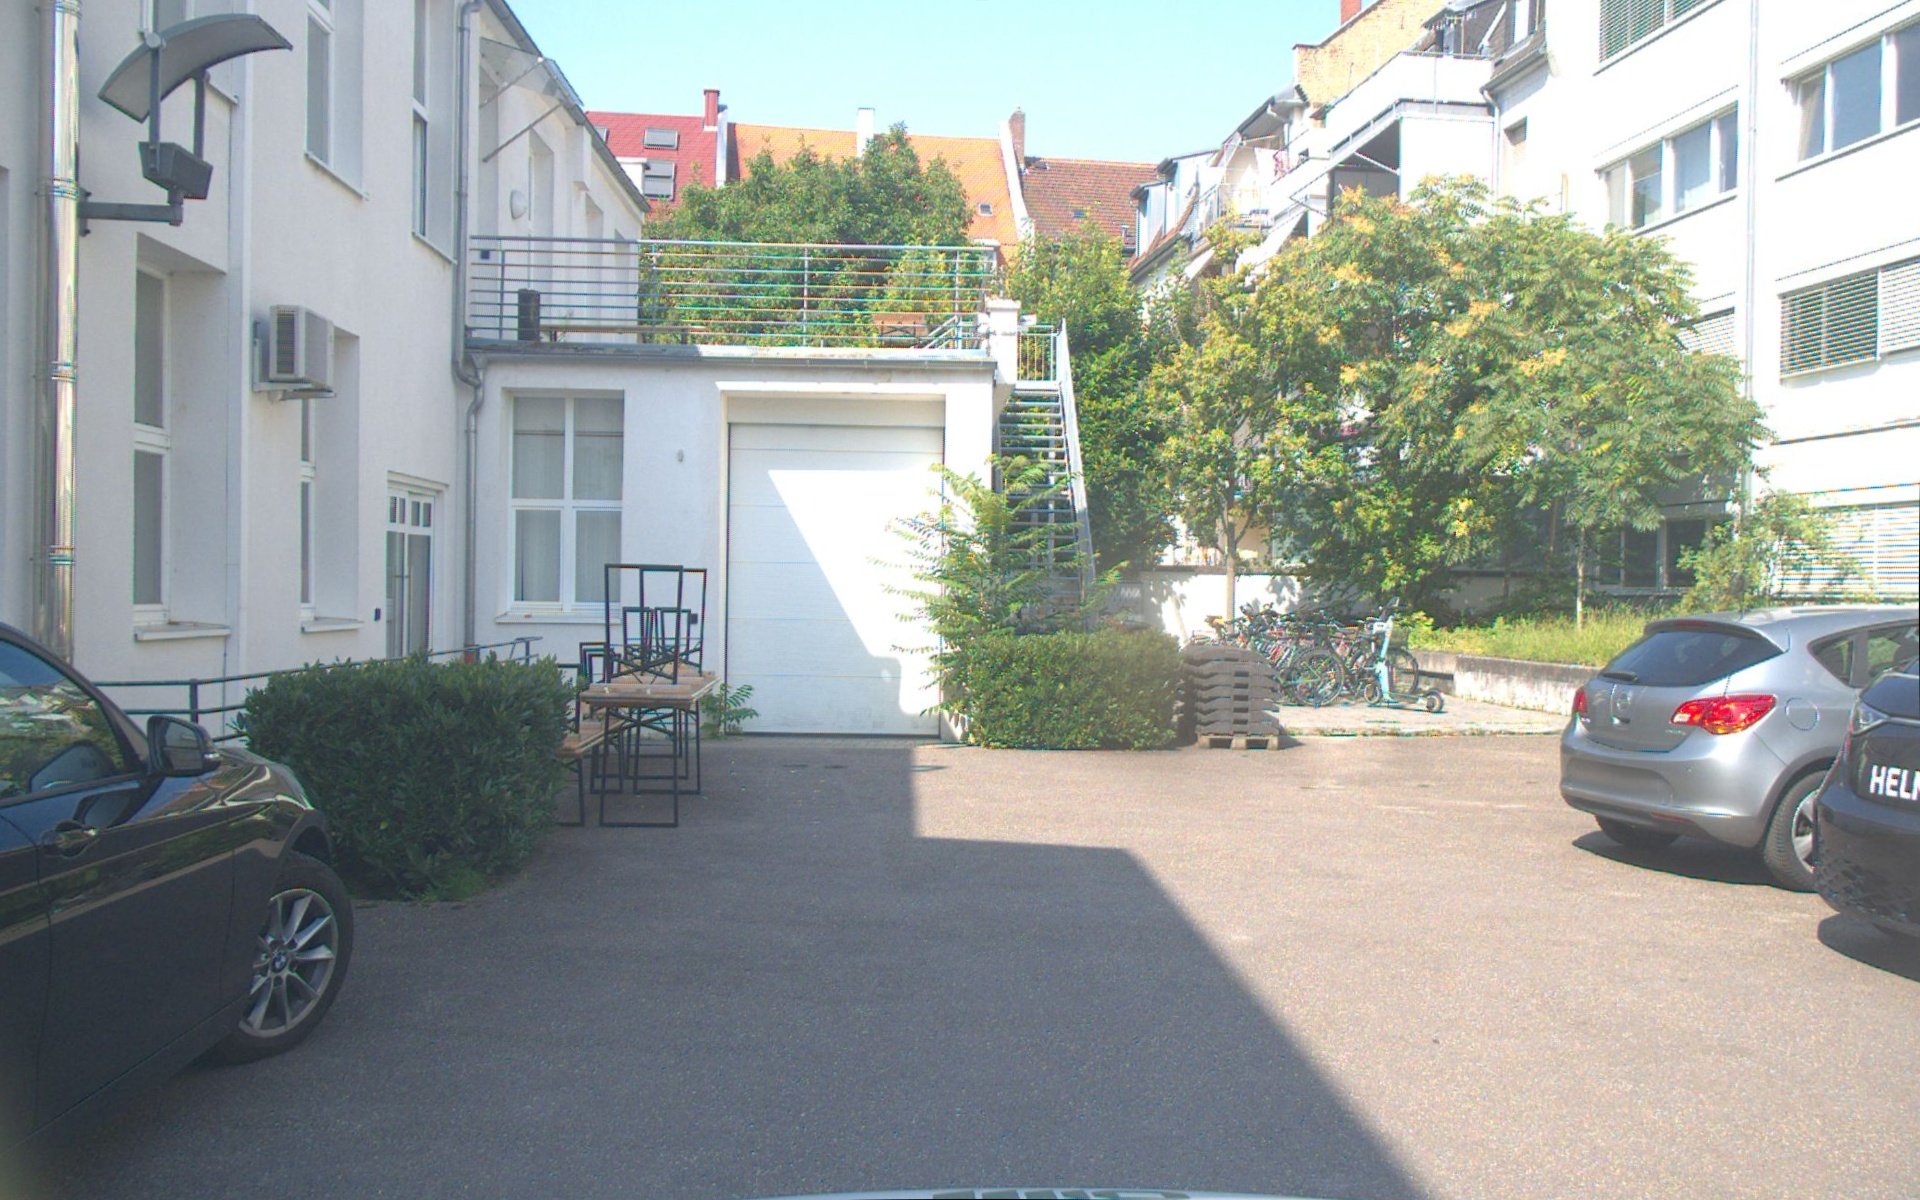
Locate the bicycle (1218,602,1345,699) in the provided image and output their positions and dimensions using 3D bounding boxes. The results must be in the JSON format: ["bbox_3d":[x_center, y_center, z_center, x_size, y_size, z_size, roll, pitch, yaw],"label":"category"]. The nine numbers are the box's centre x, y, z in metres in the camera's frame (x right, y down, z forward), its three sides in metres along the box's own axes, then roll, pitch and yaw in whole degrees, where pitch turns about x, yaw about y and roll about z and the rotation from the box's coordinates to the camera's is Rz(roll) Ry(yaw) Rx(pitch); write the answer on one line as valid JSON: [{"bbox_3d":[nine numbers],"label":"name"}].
[{"bbox_3d":[4.130,0.647,21.320,1.588,1.235,0.327,0,0,8],"label":"bicycle"}]

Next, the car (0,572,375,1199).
[{"bbox_3d":[-2.599,0.678,3.284,1.655,1.484,3.920,1,0,-3],"label":"car"}]

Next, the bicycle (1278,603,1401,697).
[{"bbox_3d":[5.065,0.665,22.115,1.588,1.235,0.424,0,0,11],"label":"bicycle"}]

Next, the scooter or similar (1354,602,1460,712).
[{"bbox_3d":[5.404,0.672,20.055,0.375,1.283,1.333,0,0,-33],"label":"scooter or similar"}]

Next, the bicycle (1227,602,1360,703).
[{"bbox_3d":[4.146,0.646,20.576,1.590,1.235,0.327,0,0,-1],"label":"bicycle"}]

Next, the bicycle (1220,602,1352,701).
[{"bbox_3d":[4.109,0.646,20.869,1.590,1.235,0.327,0,0,-1],"label":"bicycle"}]

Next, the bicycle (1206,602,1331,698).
[{"bbox_3d":[4.042,0.646,21.682,1.588,1.235,0.327,0,0,11],"label":"bicycle"}]

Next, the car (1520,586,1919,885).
[{"bbox_3d":[5.473,0.695,9.608,3.862,1.508,1.770,0,-1,-11],"label":"car"}]

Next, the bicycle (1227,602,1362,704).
[{"bbox_3d":[4.091,0.644,20.252,1.590,1.235,0.327,0,0,-1],"label":"bicycle"}]

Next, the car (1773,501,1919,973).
[{"bbox_3d":[5.891,0.534,6.738,4.420,1.826,1.878,0,-1,-11],"label":"car"}]

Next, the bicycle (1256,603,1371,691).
[{"bbox_3d":[5.060,0.668,23.718,1.588,1.235,0.424,0,0,10],"label":"bicycle"}]

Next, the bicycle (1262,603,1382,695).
[{"bbox_3d":[4.952,0.664,22.687,1.588,1.235,0.424,0,0,10],"label":"bicycle"}]

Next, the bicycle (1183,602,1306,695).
[{"bbox_3d":[3.836,0.645,22.351,1.590,1.235,0.424,0,0,-3],"label":"bicycle"}]

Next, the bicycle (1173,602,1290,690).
[{"bbox_3d":[3.875,0.648,23.590,1.592,1.235,0.423,0,0,-7],"label":"bicycle"}]

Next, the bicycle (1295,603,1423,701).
[{"bbox_3d":[5.116,0.663,21.256,1.588,1.235,0.327,0,0,13],"label":"bicycle"}]

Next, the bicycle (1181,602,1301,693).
[{"bbox_3d":[3.899,0.647,22.988,1.592,1.235,0.423,0,0,-8],"label":"bicycle"}]
